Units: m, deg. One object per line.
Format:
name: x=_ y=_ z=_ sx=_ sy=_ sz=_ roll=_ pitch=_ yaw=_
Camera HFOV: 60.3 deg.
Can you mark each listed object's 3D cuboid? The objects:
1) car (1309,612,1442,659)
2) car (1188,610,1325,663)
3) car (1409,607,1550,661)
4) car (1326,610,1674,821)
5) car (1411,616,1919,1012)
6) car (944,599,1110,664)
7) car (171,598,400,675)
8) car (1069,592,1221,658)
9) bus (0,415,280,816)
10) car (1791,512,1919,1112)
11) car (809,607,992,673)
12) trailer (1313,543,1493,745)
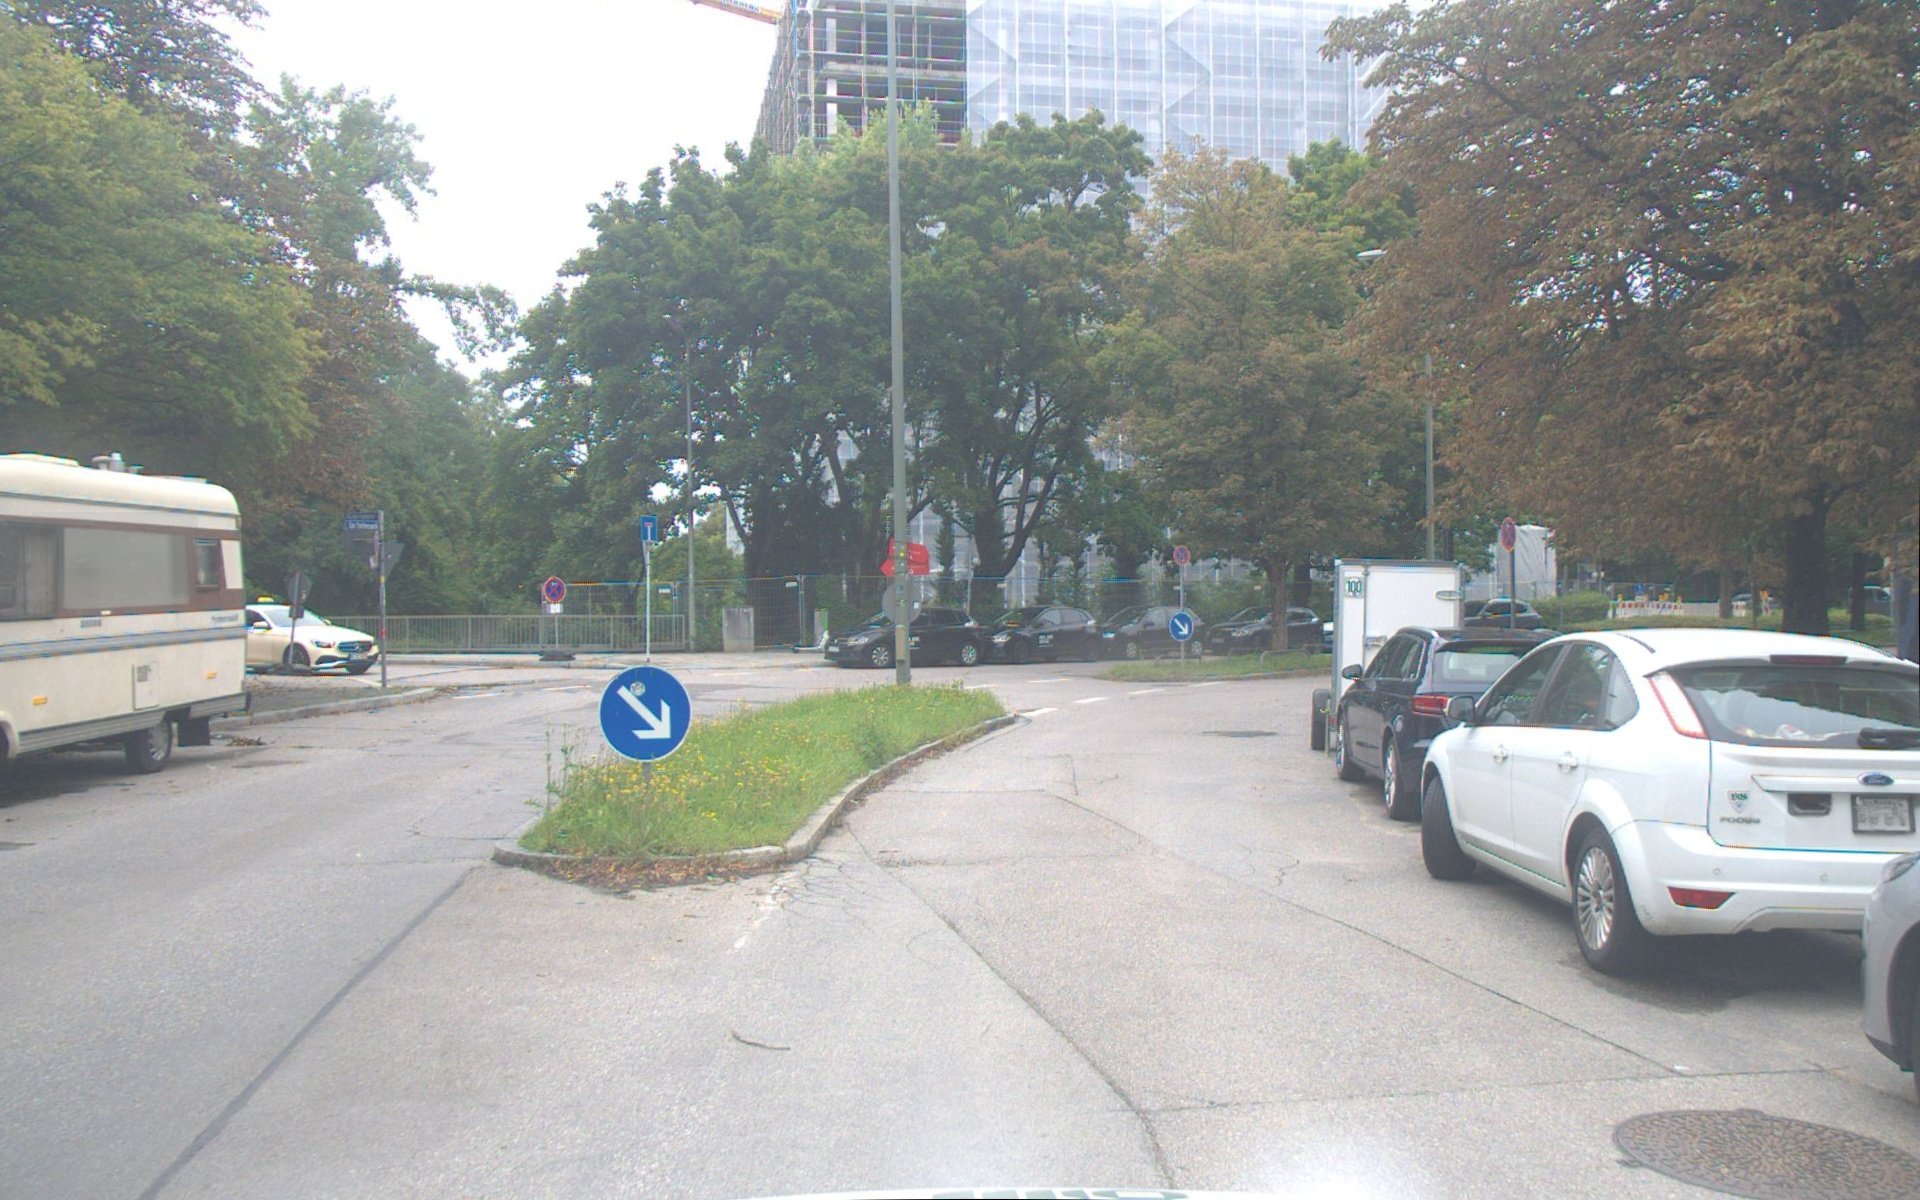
car: x=12.969 y=1.093 z=51.574 sx=4.171 sy=1.408 sz=1.779 roll=0 pitch=-1 yaw=-36
car: x=8.723 y=1.053 z=48.587 sx=3.965 sy=1.486 sz=1.815 roll=1 pitch=-1 yaw=-38
car: x=16.885 y=1.103 z=53.748 sx=4.330 sy=1.634 sz=1.875 roll=2 pitch=-2 yaw=-27
car: x=4.319 y=0.845 z=13.953 sx=1.832 sy=1.462 sz=4.331 roll=-1 pitch=0 yaw=5
car: x=3.720 y=0.840 z=8.450 sx=1.730 sy=1.512 sz=4.221 roll=0 pitch=-1 yaw=1
car: x=1.742 y=0.781 z=42.354 sx=3.959 sy=1.568 sz=1.973 roll=0 pitch=-1 yaw=-38
car: x=-14.574 y=0.747 z=35.710 sx=4.742 sy=1.572 sz=1.892 roll=0 pitch=0 yaw=26
car: x=5.122 y=0.683 z=45.604 sx=3.959 sy=1.736 sz=1.973 roll=1 pitch=-1 yaw=-38
bus: x=-7.768 y=0.122 z=13.433 sx=2.268 sy=2.746 sz=5.732 roll=0 pitch=0 yaw=-2
car: x=3.924 y=0.611 z=3.388 sx=1.954 sy=1.758 sz=4.445 roll=1 pitch=-1 yaw=-5
car: x=-1.406 y=0.916 z=39.779 sx=4.001 sy=1.457 sz=1.973 roll=0 pitch=1 yaw=-38
trailer: x=5.174 y=0.485 z=19.299 sx=1.770 sy=2.049 sz=4.837 roll=0 pitch=-1 yaw=16
